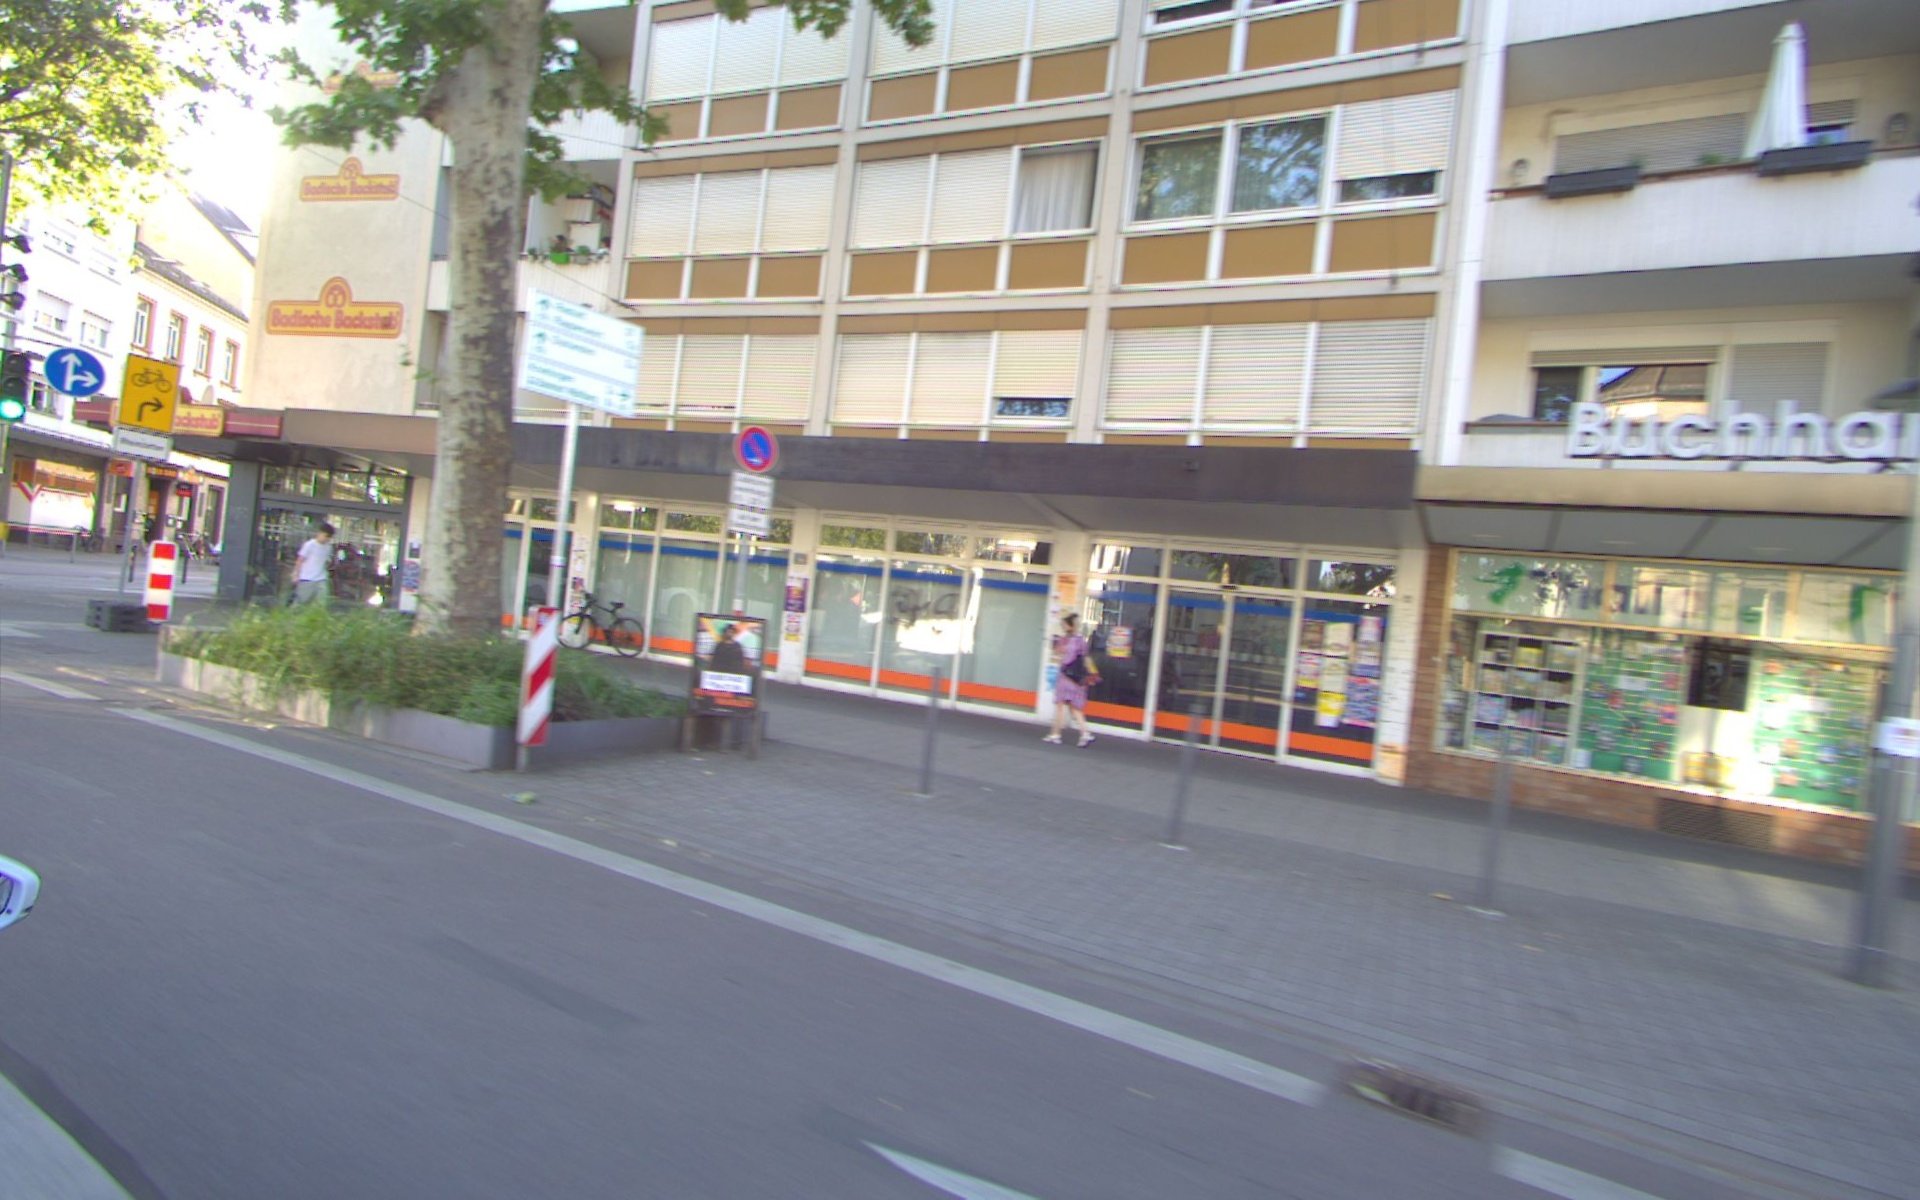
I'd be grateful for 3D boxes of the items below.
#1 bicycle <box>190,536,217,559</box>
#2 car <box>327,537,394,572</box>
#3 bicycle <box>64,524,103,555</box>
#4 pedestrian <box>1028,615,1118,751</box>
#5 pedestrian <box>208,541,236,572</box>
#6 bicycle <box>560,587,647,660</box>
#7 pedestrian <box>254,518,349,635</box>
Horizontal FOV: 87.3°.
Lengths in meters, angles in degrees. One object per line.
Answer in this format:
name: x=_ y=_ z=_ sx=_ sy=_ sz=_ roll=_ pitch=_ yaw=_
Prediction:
bicycle: x=-34.983 y=-2.426 z=46.534 sx=0.290 sy=1.054 sz=1.712 roll=5 pitch=2 yaw=-13
car: x=-32.802 y=-2.441 z=55.137 sx=1.813 sy=1.513 sz=3.991 roll=8 pitch=-1 yaw=-12
bicycle: x=-32.989 y=-2.267 z=37.879 sx=0.290 sy=1.053 sz=1.714 roll=5 pitch=-1 yaw=-13
pedestrian: x=1.424 y=1.020 z=12.625 sx=0.794 sy=1.571 sz=0.640 roll=6 pitch=1 yaw=27
pedestrian: x=-32.350 y=-1.910 z=44.095 sx=0.719 sy=1.257 sz=0.552 roll=7 pitch=-2 yaw=22
bicycle: x=-6.283 y=0.411 z=17.739 sx=1.435 sy=1.107 sz=0.438 roll=7 pitch=2 yaw=22
pedestrian: x=-10.435 y=-0.364 z=15.966 sx=0.778 sy=1.735 sz=0.837 roll=7 pitch=2 yaw=17
